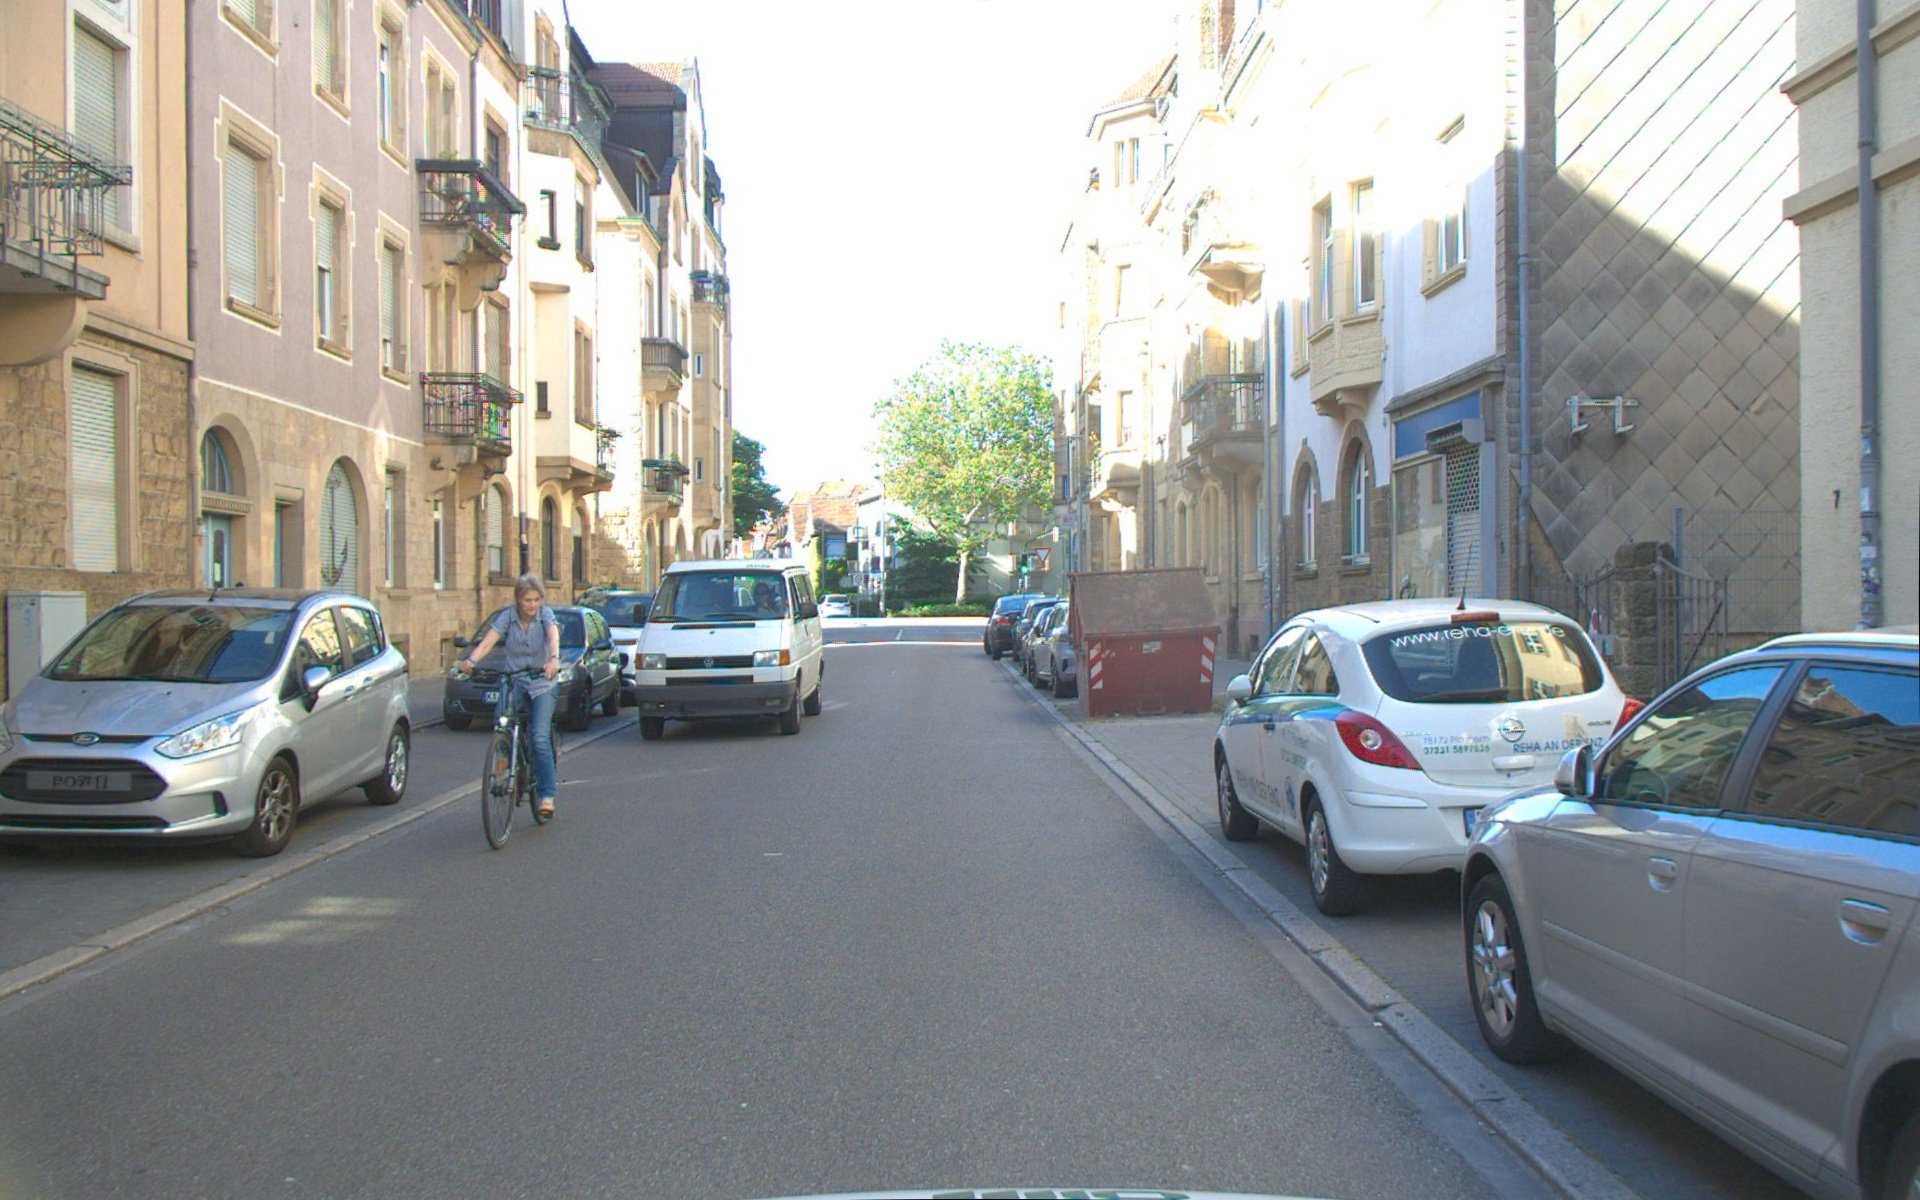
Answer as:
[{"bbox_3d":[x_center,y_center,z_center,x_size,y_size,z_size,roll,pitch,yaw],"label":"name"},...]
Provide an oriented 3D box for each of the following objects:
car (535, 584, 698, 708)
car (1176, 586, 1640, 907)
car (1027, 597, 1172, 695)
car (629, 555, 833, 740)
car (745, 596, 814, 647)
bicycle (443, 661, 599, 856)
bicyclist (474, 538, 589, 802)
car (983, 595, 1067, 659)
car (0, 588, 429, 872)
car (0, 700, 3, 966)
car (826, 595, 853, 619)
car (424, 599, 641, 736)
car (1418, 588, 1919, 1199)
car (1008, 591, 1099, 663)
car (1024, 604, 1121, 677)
[{"bbox_3d":[-4.998,0.620,24.569,1.680,1.611,4.018,3,0,-3],"label":"car"},{"bbox_3d":[2.369,0.682,9.678,1.554,1.490,3.710,-1,0,-3],"label":"car"},{"bbox_3d":[2.176,0.682,26.687,1.751,1.455,3.804,0,0,-4],"label":"car"},{"bbox_3d":[-2.618,0.497,19.941,1.825,1.971,4.599,0,0,0],"label":"car"},{"bbox_3d":[-5.499,0.638,50.785,1.600,1.489,3.735,0,0,2],"label":"car"},{"bbox_3d":[-2.831,0.982,10.818,0.529,1.095,1.800,0,0,0],"label":"bicycle"},{"bbox_3d":[-2.830,0.450,10.971,0.595,1.694,0.632,0,0,-1],"label":"bicyclist"},{"bbox_3d":[1.566,0.633,41.386,1.828,1.488,4.338,0,0,-1],"label":"car"},{"bbox_3d":[-4.907,0.705,11.013,1.680,1.565,3.722,0,0,-3],"label":"car"},{"bbox_3d":[-4.780,0.763,4.811,1.680,1.548,4.108,-1,0,-2],"label":"car"},{"bbox_3d":[-7.845,0.468,107.649,1.640,1.509,3.519,1,-1,-3],"label":"car"},{"bbox_3d":[-5.072,0.740,20.090,1.638,1.417,3.666,3,0,0],"label":"car"},{"bbox_3d":[2.615,0.718,4.295,1.619,1.490,4.093,-1,0,-1],"label":"car"},{"bbox_3d":[2.011,0.555,36.590,1.618,1.467,4.257,-1,0,-2],"label":"car"},{"bbox_3d":[2.076,0.733,31.424,1.658,1.276,3.941,0,0,1],"label":"car"}]
